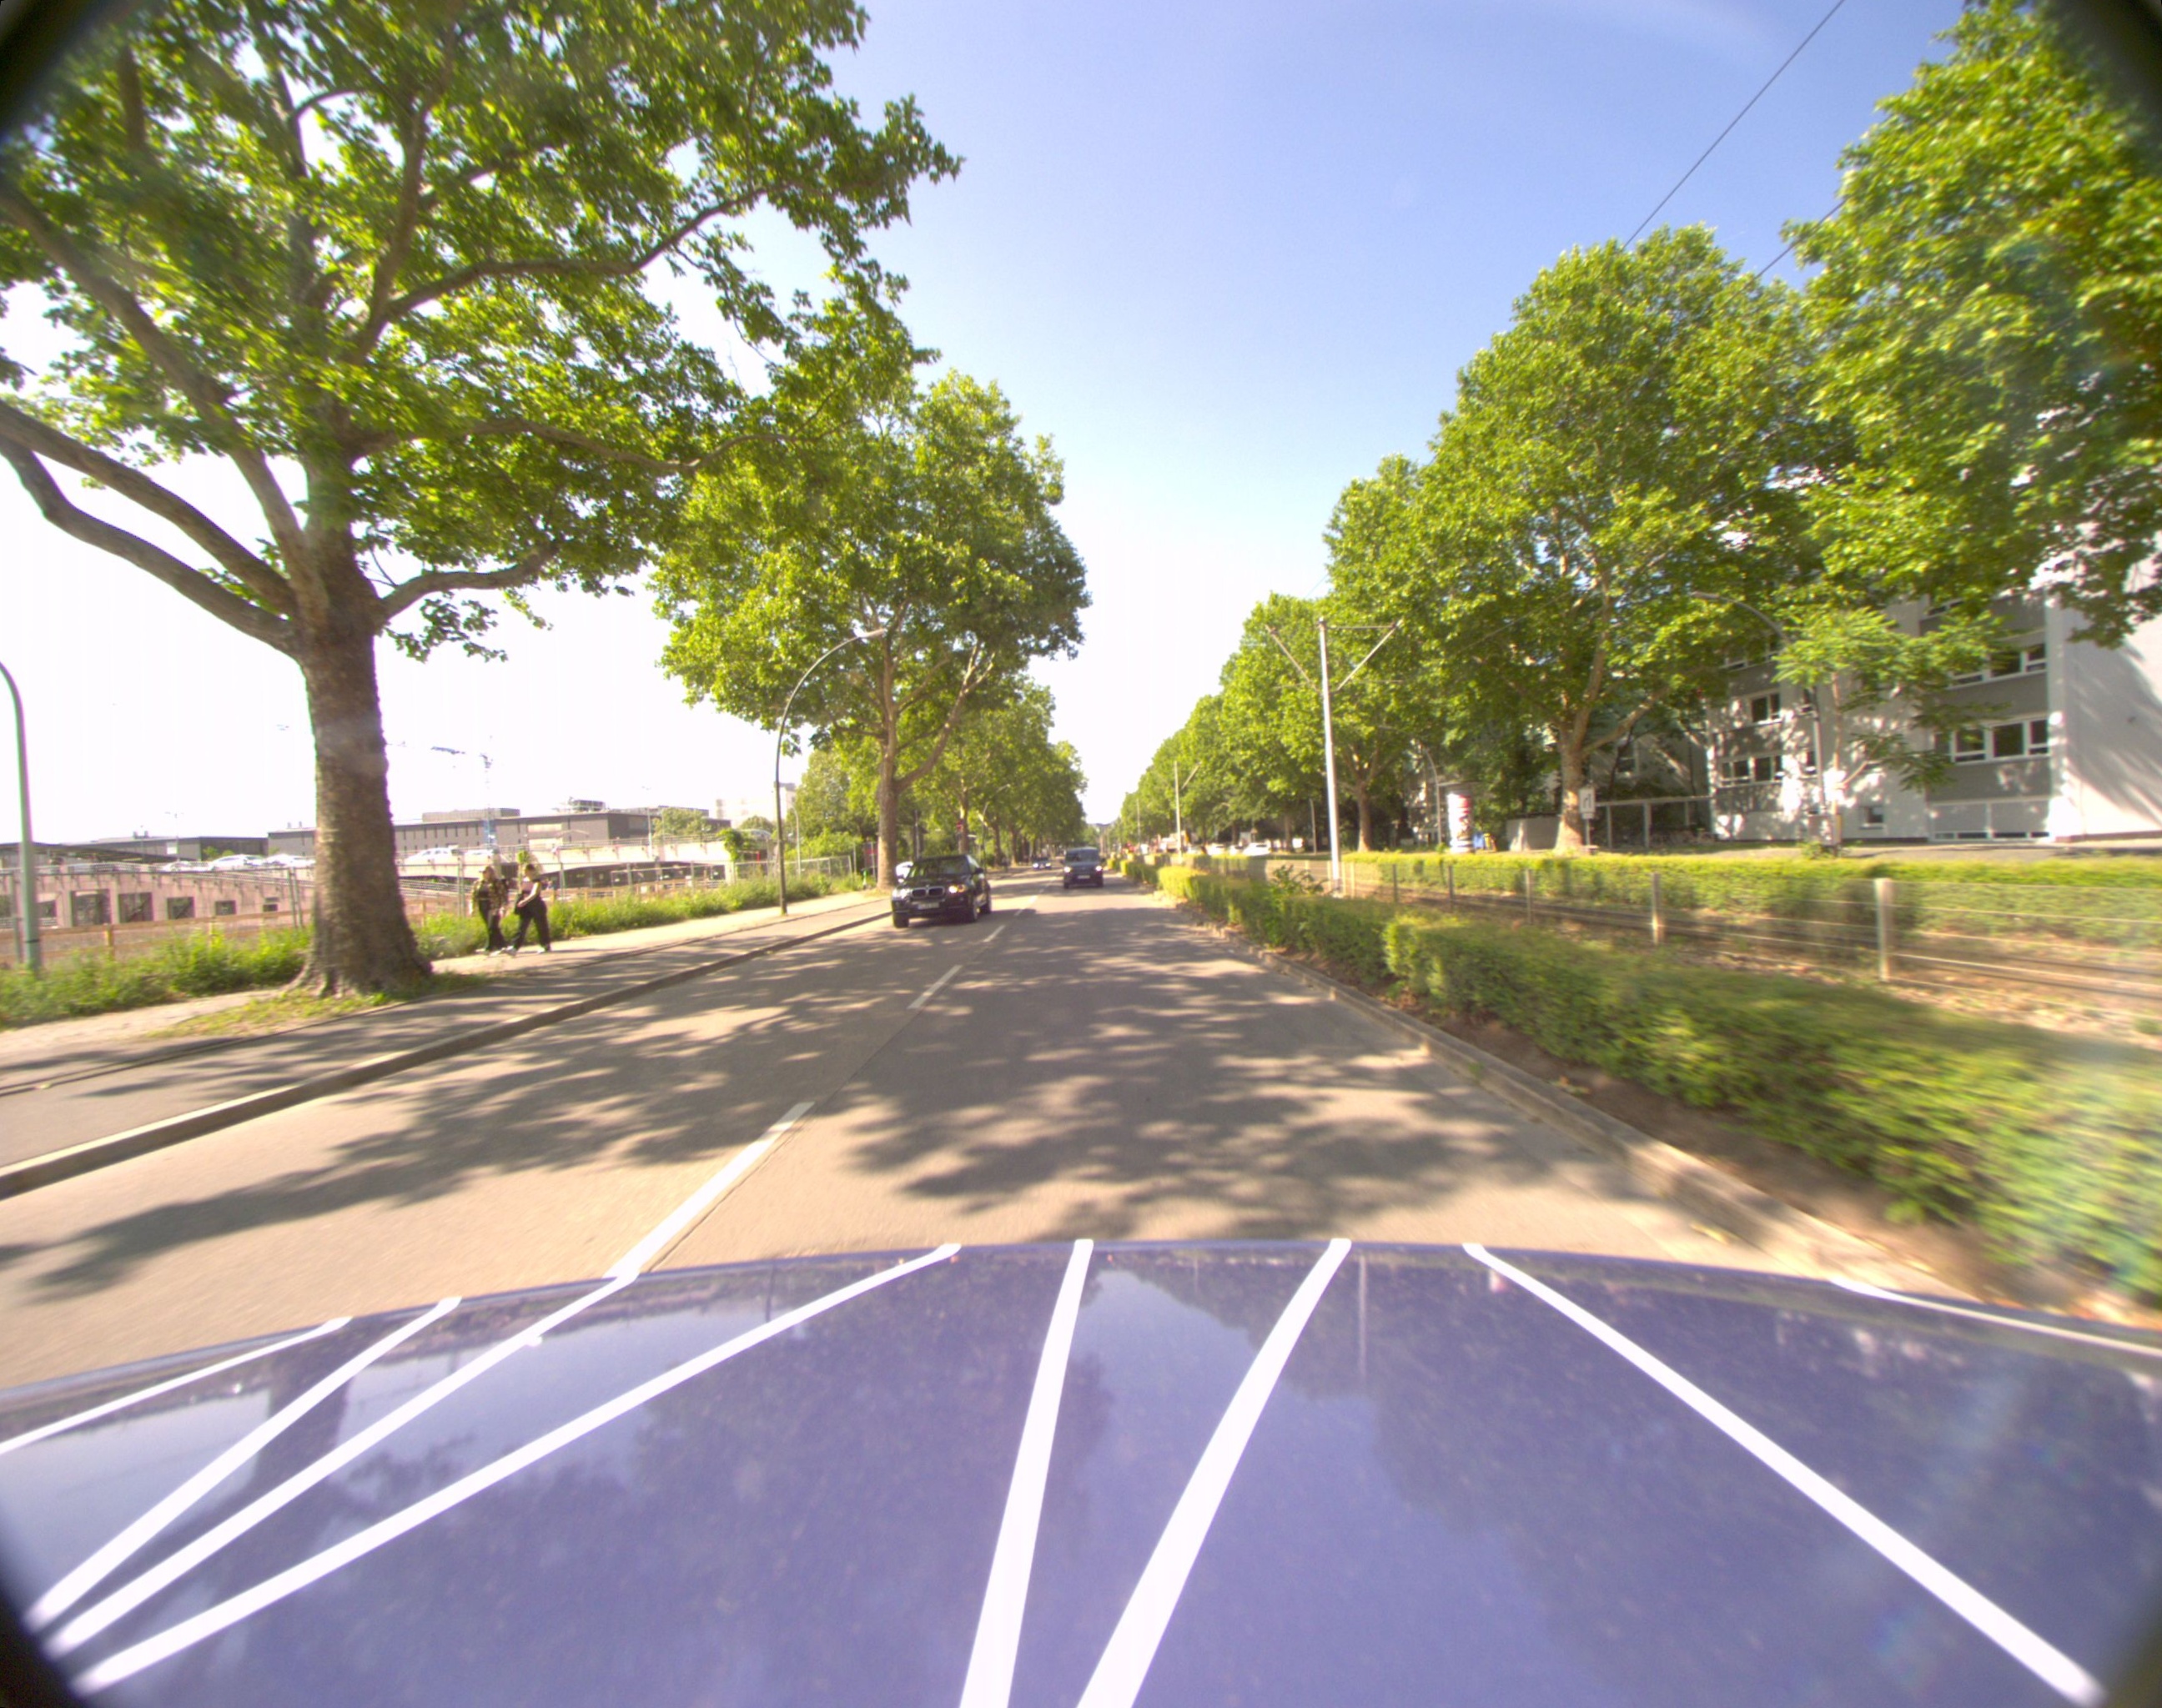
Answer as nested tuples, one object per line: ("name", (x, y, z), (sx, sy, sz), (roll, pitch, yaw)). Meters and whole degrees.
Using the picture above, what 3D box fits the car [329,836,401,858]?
("car", (-57.743, -0.566, 61.330), (3.997, 1.501, 1.808), (-4, 1, -2))

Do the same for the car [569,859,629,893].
("car", (-43.165, 1.919, 68.082), (3.997, 2.723, 1.808), (-4, 1, -2))

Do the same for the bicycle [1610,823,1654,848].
("bicycle", (27.054, -0.901, 37.315), (1.770, 1.096, 0.421), (-4, 1, 0))

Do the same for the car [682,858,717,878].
("car", (-54.859, 2.000, 109.253), (3.997, 2.723, 1.808), (-4, 1, -2))

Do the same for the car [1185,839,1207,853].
("car", (13.816, -0.949, 91.473), (1.860, 1.445, 3.999), (-4, 1, 0))

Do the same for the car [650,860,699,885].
("car", (-43.087, 1.961, 80.582), (3.997, 2.309, 1.808), (-4, 1, -2))

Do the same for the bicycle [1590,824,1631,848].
("bicycle", (27.093, -0.923, 38.863), (1.770, 1.096, 0.421), (-4, 1, 0))

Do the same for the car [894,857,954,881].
("car", (-10.713, 1.043, 51.629), (3.989, 1.400, 1.900), (-3, 1, 42))

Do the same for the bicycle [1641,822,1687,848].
("bicycle", (27.191, -0.884, 35.431), (1.770, 1.096, 0.421), (-4, 1, 0))

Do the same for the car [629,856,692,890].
("car", (-37.605, 1.646, 68.008), (4.375, 2.723, 1.808), (-4, 1, -2))

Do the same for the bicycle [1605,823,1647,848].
("bicycle", (27.089, -0.909, 37.776), (1.770, 1.096, 0.421), (-4, 1, 0))

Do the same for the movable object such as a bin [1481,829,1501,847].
("movable object such as a bin", (25.565, -1.006, 47.337), (0.898, 1.031, 0.546), (-4, 1, 0))

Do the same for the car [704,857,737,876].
("car", (-55.061, 1.922, 116.144), (3.997, 2.723, 1.808), (-4, 1, -2))

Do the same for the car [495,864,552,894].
("car", (-54.859, 2.444, 74.791), (3.997, 2.723, 1.808), (-4, 1, -2))

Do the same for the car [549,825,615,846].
("car", (-40.290, -1.483, 61.414), (3.997, 1.501, 1.808), (-4, 1, -2))

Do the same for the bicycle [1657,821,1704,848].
("bicycle", (27.195, -0.872, 34.470), (1.770, 1.096, 0.421), (-4, 1, 0))

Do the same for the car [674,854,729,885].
("car", (-37.446, 1.547, 75.038), (4.375, 2.723, 1.808), (-4, 1, -2))

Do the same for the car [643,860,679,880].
("car", (-60.311, 2.287, 109.180), (3.997, 2.723, 1.808), (-4, 1, -2))

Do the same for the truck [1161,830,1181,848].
("truck", (17.031, -2.806, 143.830), (2.752, 3.259, 6.540), (-3, 1, 0))

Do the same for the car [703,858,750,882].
("car", (-37.651, 1.673, 80.800), (3.997, 2.309, 1.808), (-4, 1, -2))

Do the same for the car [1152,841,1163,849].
("car", (16.853, -1.977, 167.508), (1.752, 1.445, 3.865), (-3, 1, 0))

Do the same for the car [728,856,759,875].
("car", (-54.729, 1.814, 123.177), (3.997, 2.723, 1.808), (-4, 1, -2))

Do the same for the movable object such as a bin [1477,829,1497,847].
("movable object such as a bin", (25.576, -1.014, 47.902), (0.898, 1.031, 0.546), (-4, 1, 0))

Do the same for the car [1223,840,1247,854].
("car", (17.331, -0.781, 85.584), (1.856, 1.445, 3.999), (-3, 1, 0))

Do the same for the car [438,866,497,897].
("car", (-60.170, 2.726, 74.565), (3.997, 2.723, 1.808), (-4, 1, -2))

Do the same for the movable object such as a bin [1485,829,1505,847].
("movable object such as a bin", (25.495, -0.995, 46.782), (0.898, 1.031, 0.546), (-4, 1, 0))

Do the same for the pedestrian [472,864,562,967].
("pedestrian", (-10.129, 1.074, 13.691), (0.711, 1.714, 1.066), (-3, 1, 0))

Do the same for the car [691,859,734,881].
("car", (-43.006, 1.851, 88.800), (3.997, 2.309, 1.808), (-4, 1, -2))

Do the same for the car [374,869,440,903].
("car", (-60.127, 2.811, 67.824), (3.997, 2.723, 1.808), (-4, 1, -2))

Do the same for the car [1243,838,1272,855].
("car", (16.835, -0.720, 72.526), (1.820, 1.482, 3.912), (-1, 1, 0))

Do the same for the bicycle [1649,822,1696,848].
("bicycle", (27.199, -0.878, 34.933), (1.770, 1.096, 0.421), (-4, 1, 0))

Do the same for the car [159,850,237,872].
("car", (-71.278, 0.567, 61.397), (3.997, 1.501, 1.808), (-4, 1, -2))

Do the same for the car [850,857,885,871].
("car", (-27.658, 1.324, 98.551), (3.997, 1.501, 1.808), (-4, 1, -2))

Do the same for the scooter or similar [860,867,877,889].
("scooter or similar", (-11.487, 1.303, 41.089), (0.483, 1.115, 1.128), (-3, 1, 2))

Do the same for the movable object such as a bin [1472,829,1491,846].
("movable object such as a bin", (25.568, -1.022, 48.509), (0.898, 1.031, 0.546), (-4, 1, 0))

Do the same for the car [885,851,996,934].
("car", (-3.439, 0.881, 19.431), (1.924, 1.720, 4.151), (-4, 1, 0))

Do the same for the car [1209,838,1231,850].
("car", (17.593, -1.240, 96.307), (1.860, 1.445, 3.999), (-4, 1, 0))

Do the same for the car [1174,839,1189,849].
("car", (15.861, -1.550, 119.577), (1.701, 1.406, 3.891), (-6, 1, 0))

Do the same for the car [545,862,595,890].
("car", (-54.902, 2.358, 81.676), (3.997, 2.723, 1.808), (-4, 1, -2))

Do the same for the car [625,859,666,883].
("car", (-54.699, 2.169, 95.473), (3.997, 2.723, 1.808), (-4, 1, -2))

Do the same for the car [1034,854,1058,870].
("car", (-3.466, 0.784, 75.687), (1.854, 1.419, 4.152), (-4, 1, 3))

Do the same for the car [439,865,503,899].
("car", (-54.360, 2.509, 67.762), (3.997, 2.723, 1.808), (-4, 1, -2))

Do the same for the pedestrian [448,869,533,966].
("pedestrian", (-10.915, 1.155, 14.081), (0.697, 1.673, 0.959), (-3, 1, 0))

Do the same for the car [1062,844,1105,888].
("car", (0.185, 0.489, 35.422), (1.789, 1.840, 4.000), (-2, 1, 3))

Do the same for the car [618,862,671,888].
("car", (-43.075, 2.032, 75.029), (3.997, 2.309, 1.808), (-4, 1, -2))

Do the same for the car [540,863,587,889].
("car", (-60.214, 2.549, 88.452), (3.997, 2.723, 1.808), (-4, 1, -2))

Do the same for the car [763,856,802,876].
("car", (-37.574, 1.476, 95.730), (3.997, 2.309, 1.808), (-4, 1, -2))
